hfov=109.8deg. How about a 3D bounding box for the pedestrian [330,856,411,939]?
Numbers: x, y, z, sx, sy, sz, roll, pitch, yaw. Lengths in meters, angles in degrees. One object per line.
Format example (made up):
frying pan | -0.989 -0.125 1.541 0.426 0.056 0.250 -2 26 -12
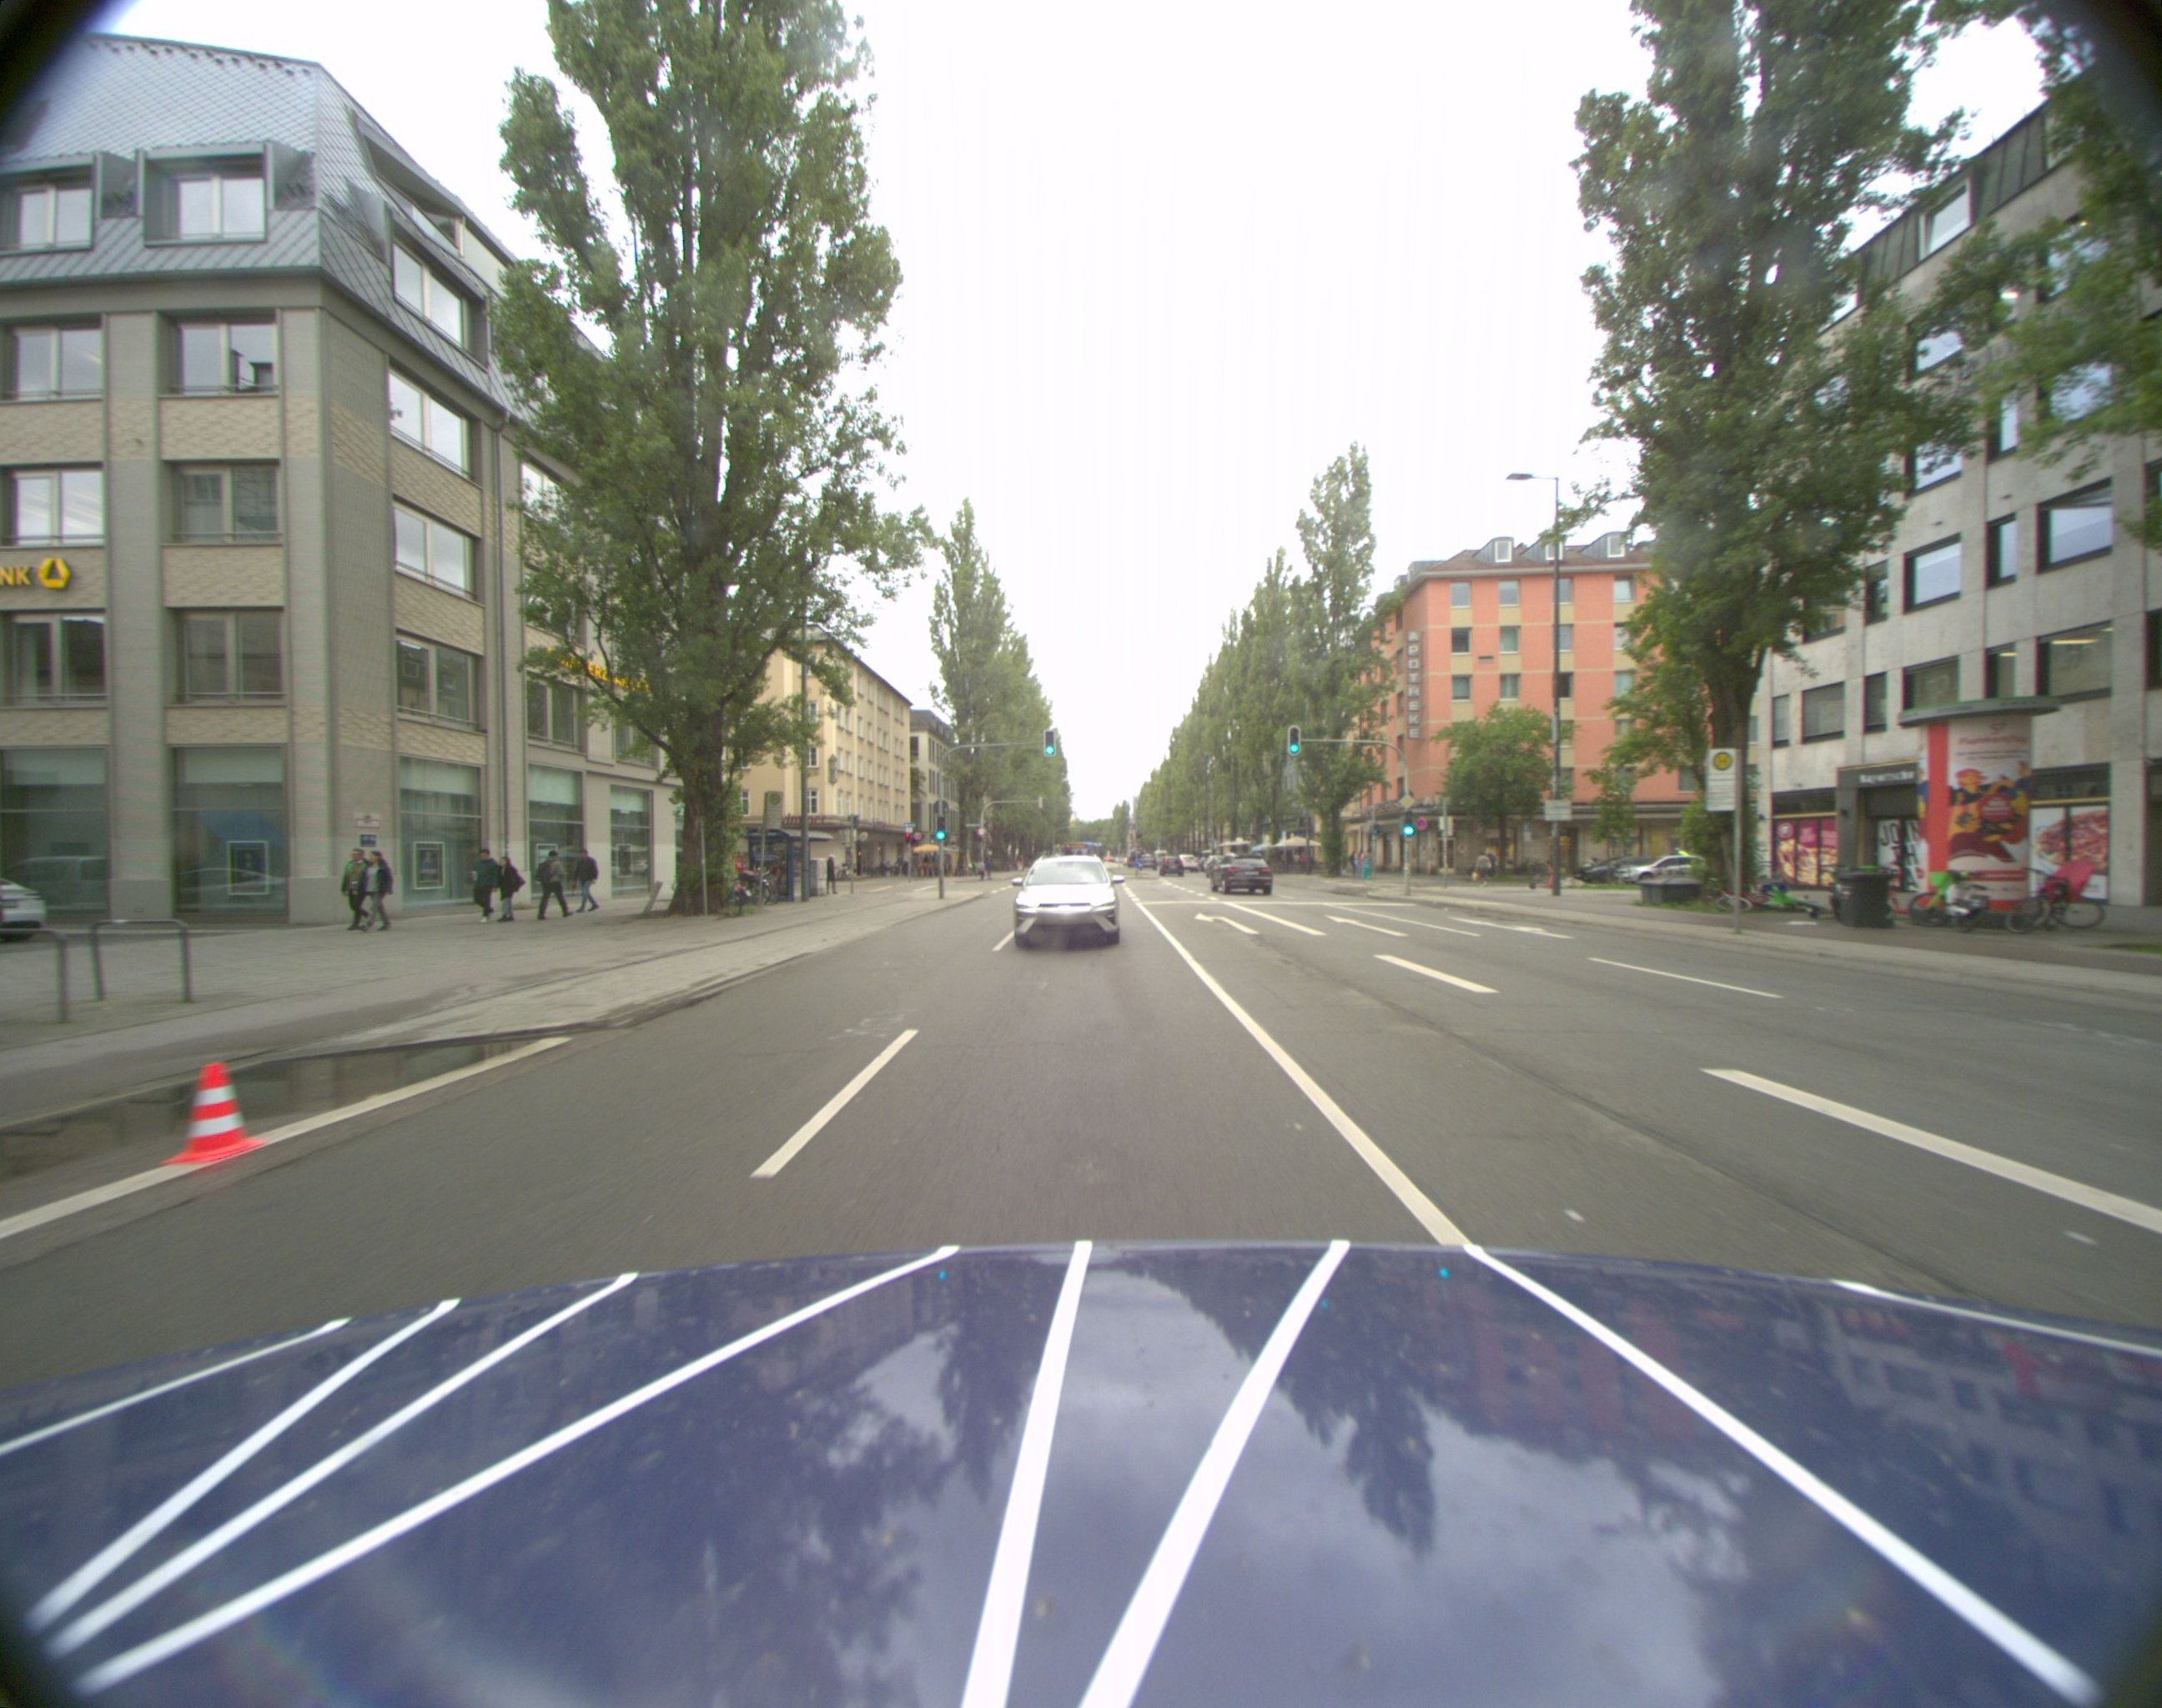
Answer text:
pedestrian | -14.831 0.882 15.878 0.752 1.667 0.963 0 1 2

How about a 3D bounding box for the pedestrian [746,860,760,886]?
pedestrian | -19.914 1.123 46.123 0.584 1.548 0.445 -2 1 2

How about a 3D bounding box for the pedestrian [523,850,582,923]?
pedestrian | -13.354 0.804 19.231 0.820 1.807 0.890 -1 1 0

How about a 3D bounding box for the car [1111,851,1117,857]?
car | 10.131 0.005 233.394 1.848 1.626 4.575 1 0 2

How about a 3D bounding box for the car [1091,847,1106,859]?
car | 2.489 -0.134 109.178 2.052 1.671 4.586 1 0 1

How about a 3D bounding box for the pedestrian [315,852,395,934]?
pedestrian | -15.687 0.827 16.442 0.752 1.708 0.963 -1 0 2

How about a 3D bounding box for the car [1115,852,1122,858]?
car | 10.476 0.163 211.598 1.848 1.626 4.575 1 0 2

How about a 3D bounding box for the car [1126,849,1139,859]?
car | 8.512 0.015 125.557 1.848 1.493 4.986 0 0 1

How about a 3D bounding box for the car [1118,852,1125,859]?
car | 10.095 0.354 189.517 1.848 1.626 4.575 1 0 2

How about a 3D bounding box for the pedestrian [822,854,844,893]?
pedestrian | -11.211 0.879 34.400 0.710 1.748 0.752 -1 1 2

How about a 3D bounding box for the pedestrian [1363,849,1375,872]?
pedestrian | 21.145 0.460 55.723 0.631 1.679 0.519 -2 1 2

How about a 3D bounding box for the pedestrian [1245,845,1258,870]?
pedestrian | 12.490 0.240 55.581 0.736 1.785 0.994 -1 1 19

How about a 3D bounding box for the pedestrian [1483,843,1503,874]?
pedestrian | 23.475 0.273 43.302 0.780 1.756 0.692 -1 1 1

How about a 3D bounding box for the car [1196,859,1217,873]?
car | 12.648 1.194 76.863 1.497 1.373 4.186 1 1 1

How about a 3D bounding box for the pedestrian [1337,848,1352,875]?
pedestrian | 17.328 0.505 49.997 0.726 1.761 0.778 0 1 2

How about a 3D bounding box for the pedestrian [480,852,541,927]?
pedestrian | -13.804 0.840 18.419 0.752 1.748 0.859 0 3 2

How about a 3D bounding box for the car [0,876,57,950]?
car | -22.687 1.156 14.373 4.309 1.379 1.900 0 0 4

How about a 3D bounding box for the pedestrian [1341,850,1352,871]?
pedestrian | 19.361 0.469 55.399 0.658 1.574 0.548 -1 1 2

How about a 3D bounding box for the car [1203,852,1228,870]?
car | 12.659 0.605 71.572 1.707 1.574 4.096 1 1 1

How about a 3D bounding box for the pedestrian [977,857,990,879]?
pedestrian | -6.974 0.971 54.325 0.620 1.509 0.767 -3 4 -45

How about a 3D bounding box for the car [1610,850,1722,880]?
car | 28.748 0.517 37.443 3.994 1.412 1.783 -1 0 10

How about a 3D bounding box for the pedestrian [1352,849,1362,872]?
pedestrian | 20.237 0.450 55.637 0.508 1.661 0.626 -1 1 2

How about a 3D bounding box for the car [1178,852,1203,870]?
car | 10.702 0.662 74.361 1.841 1.706 4.636 0 0 2

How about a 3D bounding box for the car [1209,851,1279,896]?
car | 6.573 0.726 31.113 1.918 1.671 4.586 1 0 1

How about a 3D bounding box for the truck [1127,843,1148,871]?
truck | 7.840 0.363 105.873 2.469 3.649 8.439 0 1 1

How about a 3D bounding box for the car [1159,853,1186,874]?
car | 6.897 0.717 57.399 1.565 1.487 3.694 1 0 0

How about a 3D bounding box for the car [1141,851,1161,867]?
car | 7.739 0.567 84.240 1.889 1.736 4.439 -1 0 2

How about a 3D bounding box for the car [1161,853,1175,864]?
car | 13.131 0.622 114.812 1.707 1.623 4.503 1 1 1

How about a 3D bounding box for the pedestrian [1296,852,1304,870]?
pedestrian | 21.345 0.693 74.124 0.556 1.707 0.692 0 1 0

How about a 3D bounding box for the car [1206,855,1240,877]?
car | 9.815 0.800 52.858 1.646 1.431 3.997 1 0 0

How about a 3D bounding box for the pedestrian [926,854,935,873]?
pedestrian | -13.044 0.809 65.782 0.541 1.664 0.537 -1 1 8

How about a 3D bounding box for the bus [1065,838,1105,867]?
bus | 0.597 -0.193 82.541 2.804 2.886 12.865 0 0 8

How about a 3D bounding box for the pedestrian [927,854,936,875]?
pedestrian | -12.362 0.862 62.689 0.541 1.664 0.537 0 1 8

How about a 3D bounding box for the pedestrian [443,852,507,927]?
pedestrian | -14.563 0.830 18.288 0.752 1.748 0.859 0 3 2

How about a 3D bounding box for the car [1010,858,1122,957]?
car | -0.222 0.860 14.025 1.758 1.529 3.916 -1 0 0

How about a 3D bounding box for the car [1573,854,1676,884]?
car | 28.525 0.775 39.974 3.994 1.412 1.783 -2 1 10

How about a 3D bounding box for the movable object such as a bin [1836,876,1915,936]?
movable object such as a bin | 14.888 0.958 14.250 0.725 1.035 0.853 -2 1 -28
